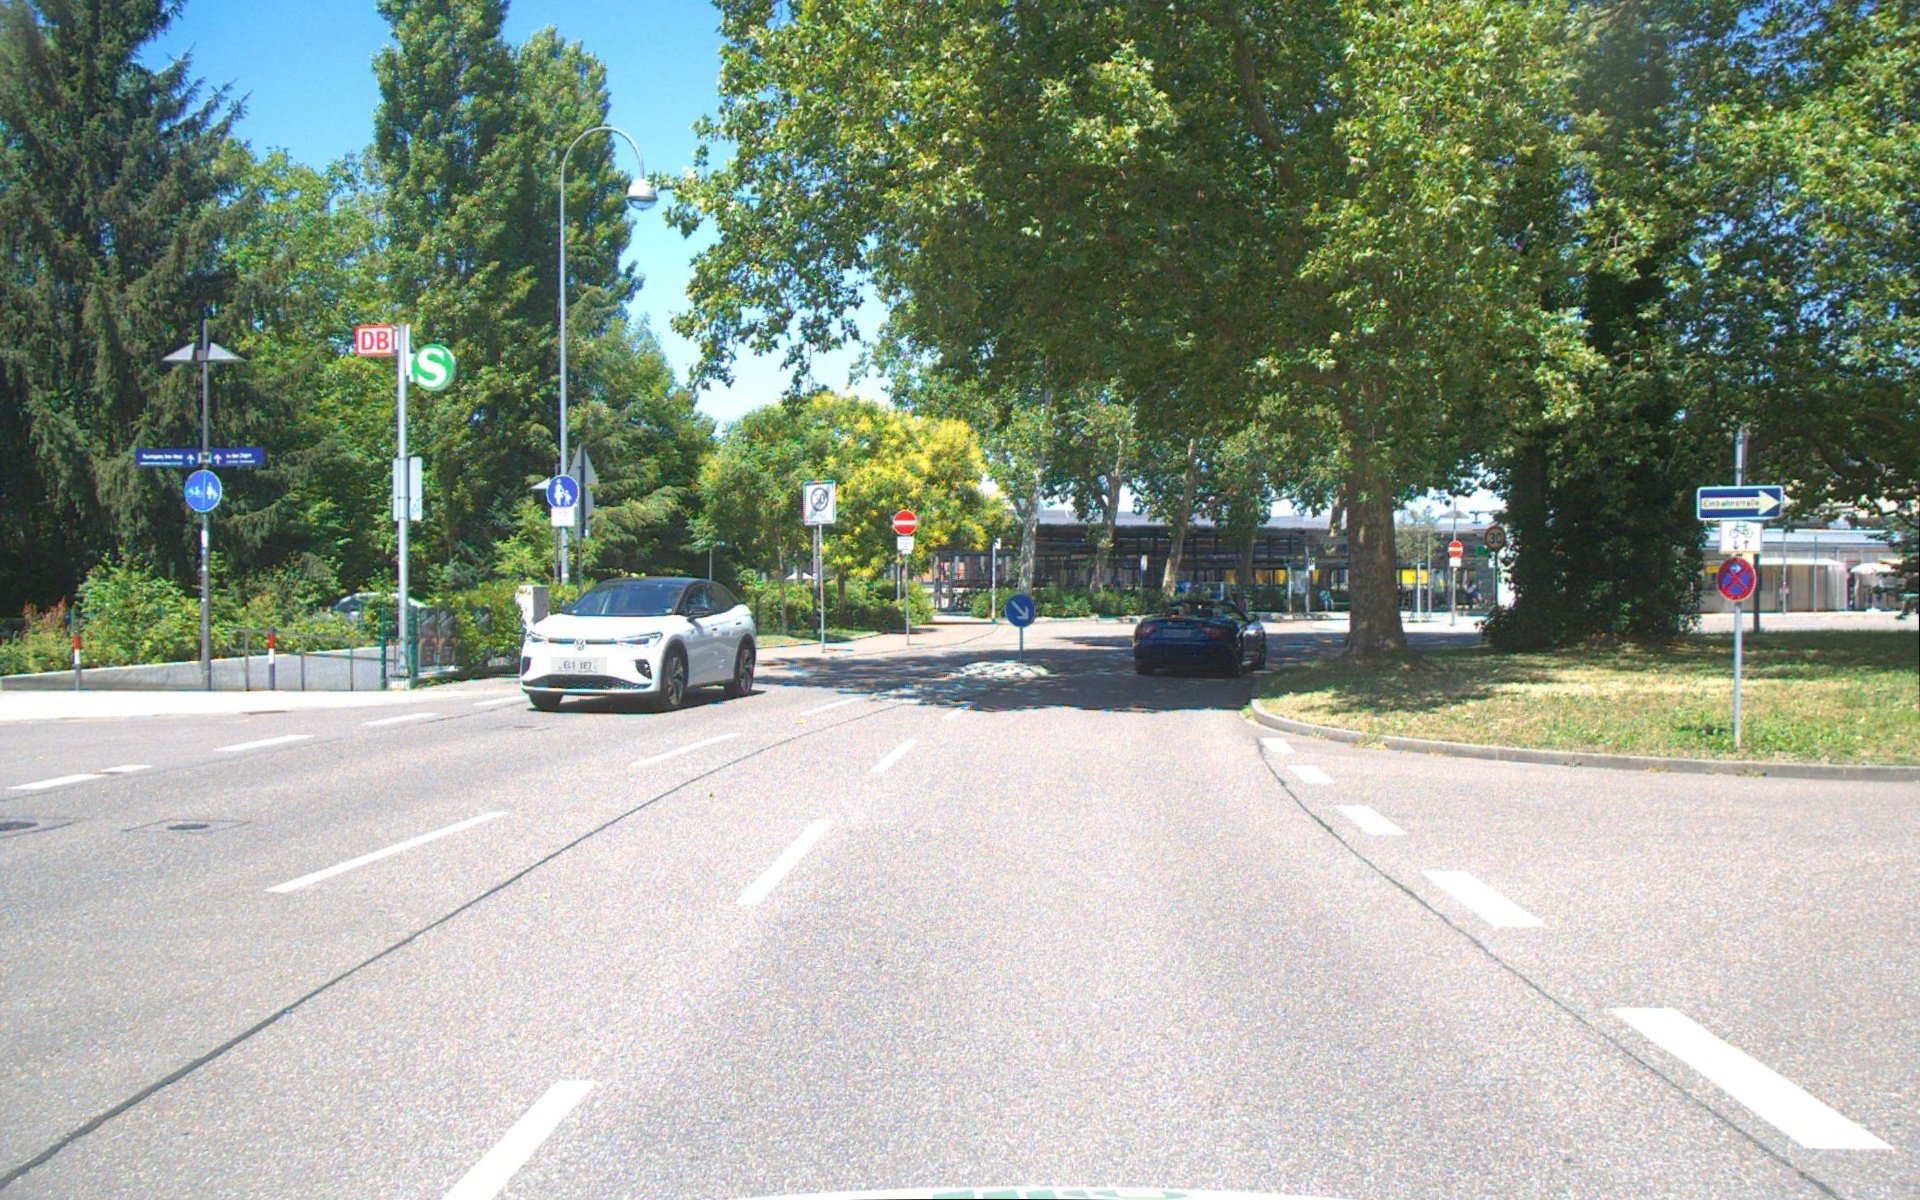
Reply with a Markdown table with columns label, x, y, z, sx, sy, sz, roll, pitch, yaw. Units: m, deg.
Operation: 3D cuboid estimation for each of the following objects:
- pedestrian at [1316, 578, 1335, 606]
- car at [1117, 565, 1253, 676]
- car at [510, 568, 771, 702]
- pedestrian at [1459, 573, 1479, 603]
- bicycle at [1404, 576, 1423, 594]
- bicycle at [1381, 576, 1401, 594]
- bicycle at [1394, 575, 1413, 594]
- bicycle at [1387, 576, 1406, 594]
| label | x | y | z | sx | sy | sz | roll | pitch | yaw |
| --- | --- | --- | --- | --- | --- | --- | --- | --- | --- |
| pedestrian | 19.730 | -0.444 | 89.366 | 0.810 | 1.489 | 0.601 | -1 | 0 | -30 |
| car | 4.194 | 0.316 | 30.319 | 2.079 | 1.880 | 4.052 | 0 | 1 | 13 |
| car | -4.023 | 0.371 | 21.588 | 1.805 | 1.557 | 4.343 | 0 | 1 | 12 |
| pedestrian | 28.821 | -0.676 | 93.700 | 0.808 | 1.645 | 0.763 | 0 | 0 | 45 |
| bicycle | 27.921 | -0.920 | 101.843 | 0.380 | 1.113 | 1.375 | 1 | -1 | -24 |
| bicycle | 26.838 | -0.935 | 102.987 | 0.380 | 1.113 | 1.375 | 1 | -1 | -24 |
| bicycle | 27.187 | -0.937 | 101.374 | 0.380 | 1.113 | 1.375 | 1 | 0 | -24 |
| bicycle | 27.244 | -0.926 | 103.235 | 0.380 | 1.113 | 1.375 | 1 | -1 | -24 |
